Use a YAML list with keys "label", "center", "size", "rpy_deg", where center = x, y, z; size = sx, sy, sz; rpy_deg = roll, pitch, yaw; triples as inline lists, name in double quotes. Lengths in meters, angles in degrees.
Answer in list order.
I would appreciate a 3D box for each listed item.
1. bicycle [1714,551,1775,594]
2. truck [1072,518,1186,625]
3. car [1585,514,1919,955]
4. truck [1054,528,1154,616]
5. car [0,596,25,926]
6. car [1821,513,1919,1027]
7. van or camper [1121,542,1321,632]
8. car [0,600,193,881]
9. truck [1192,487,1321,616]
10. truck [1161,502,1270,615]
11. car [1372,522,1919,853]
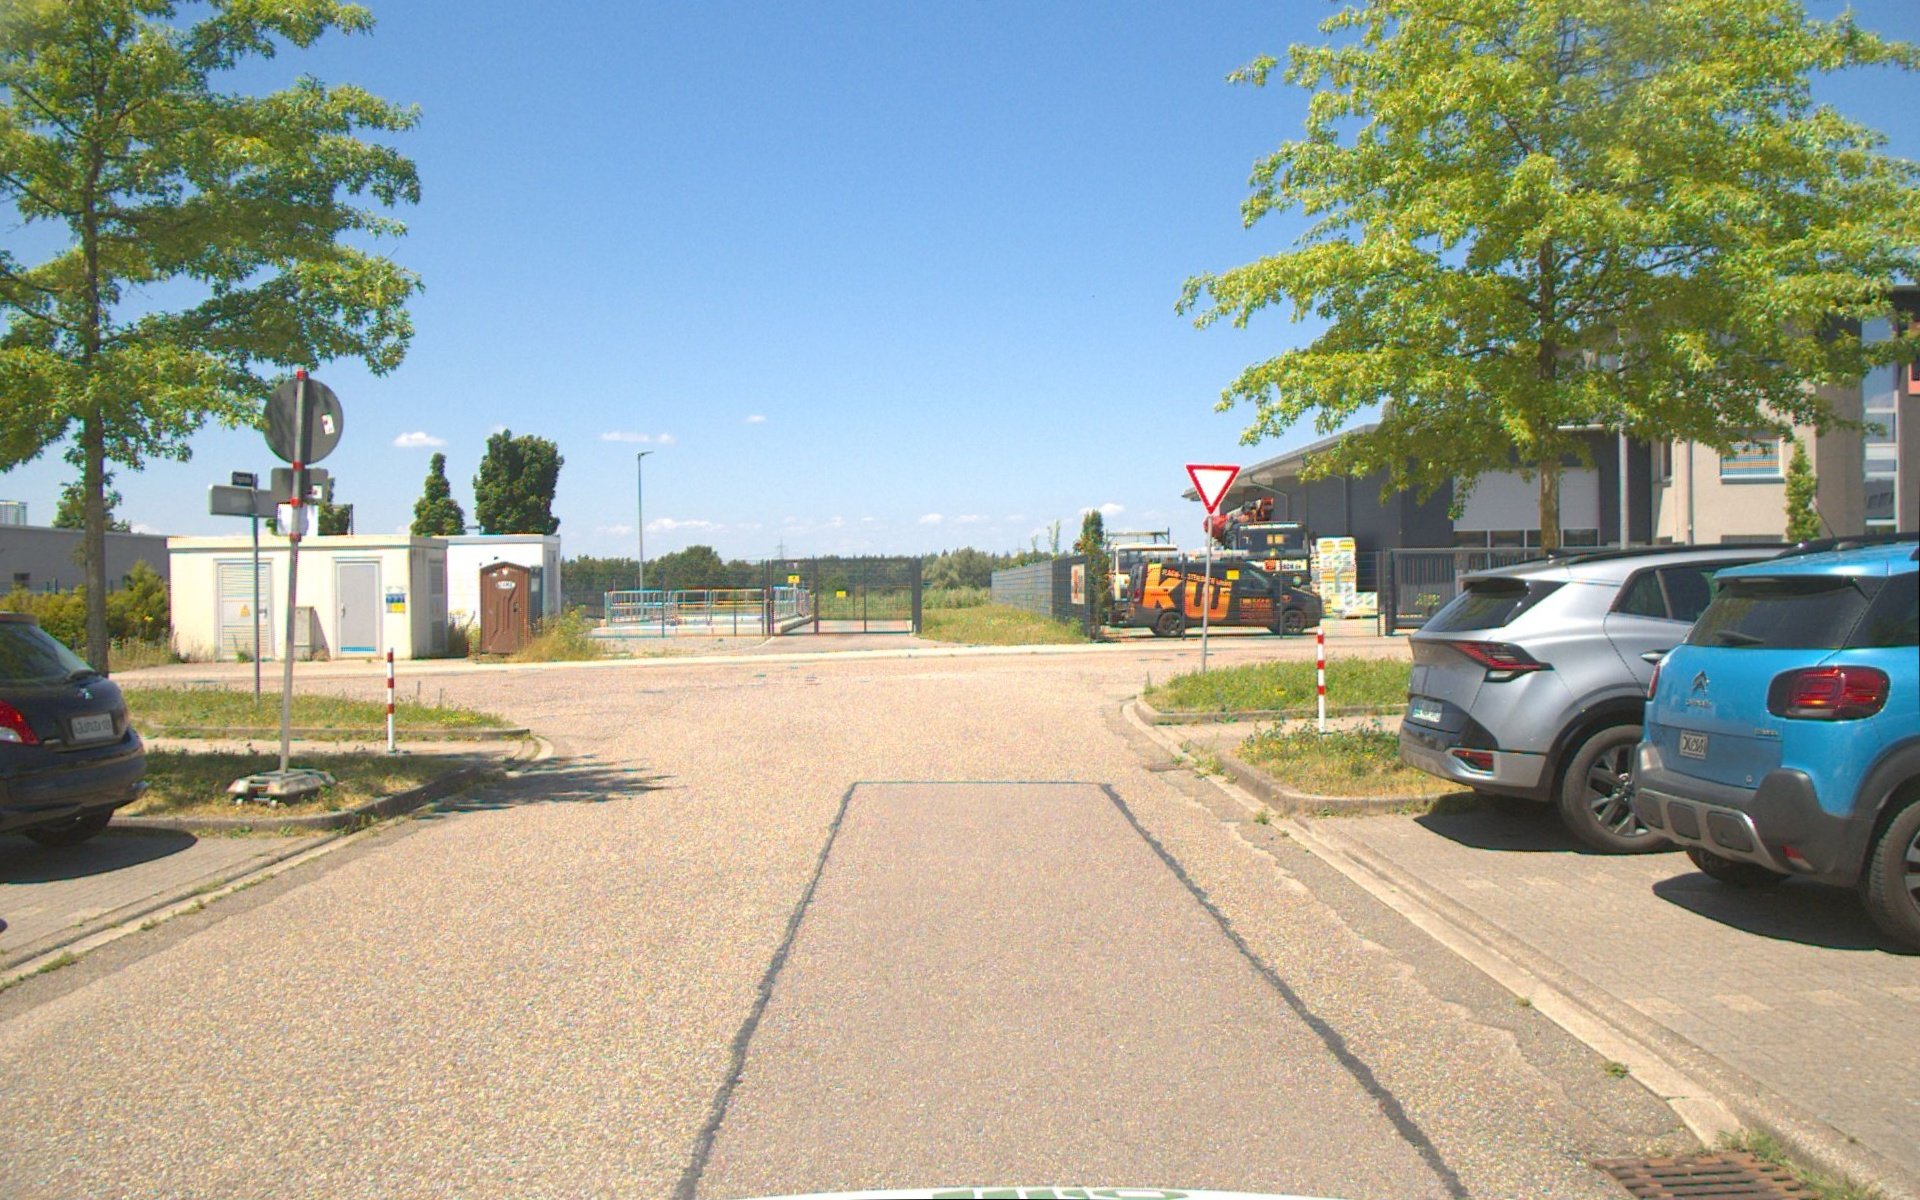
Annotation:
- label: "bicycle"
  center: [23.105, -0.813, 48.701]
  size: [1.772, 1.205, 0.442]
  rpy_deg: [-2, 1, -16]
- label: "truck"
  center: [5.253, -0.873, 52.448]
  size: [2.671, 3.115, 6.934]
  rpy_deg: [-1, 0, -2]
- label: "car"
  center: [5.089, 0.453, 7.328]
  size: [3.906, 1.673, 1.837]
  rpy_deg: [-2, 0, -2]
- label: "truck"
  center: [5.201, -1.013, 60.981]
  size: [2.862, 2.989, 6.934]
  rpy_deg: [-1, 0, -2]
- label: "car"
  center: [-6.378, 0.723, 6.926]
  size: [3.849, 1.547, 1.784]
  rpy_deg: [1, 0, -4]
- label: "car"
  center: [5.026, 0.472, 4.839]
  size: [3.985, 1.636, 1.901]
  rpy_deg: [-2, -1, 0]
- label: "van or camper"
  center: [6.751, -0.353, 43.140]
  size: [4.836, 2.201, 2.000]
  rpy_deg: [-1, 1, -2]
- label: "car"
  center: [-6.601, 0.719, 9.502]
  size: [3.554, 1.461, 1.725]
  rpy_deg: [1, 0, -4]
- label: "truck"
  center: [9.783, -1.549, 55.307]
  size: [2.862, 3.998, 6.934]
  rpy_deg: [-1, 0, -2]
- label: "truck"
  center: [9.657, -1.534, 63.195]
  size: [2.862, 3.998, 6.934]
  rpy_deg: [-1, 0, -2]
- label: "car"
  center: [4.807, 0.428, 9.843]
  size: [4.192, 1.673, 1.850]
  rpy_deg: [-2, 0, -1]
